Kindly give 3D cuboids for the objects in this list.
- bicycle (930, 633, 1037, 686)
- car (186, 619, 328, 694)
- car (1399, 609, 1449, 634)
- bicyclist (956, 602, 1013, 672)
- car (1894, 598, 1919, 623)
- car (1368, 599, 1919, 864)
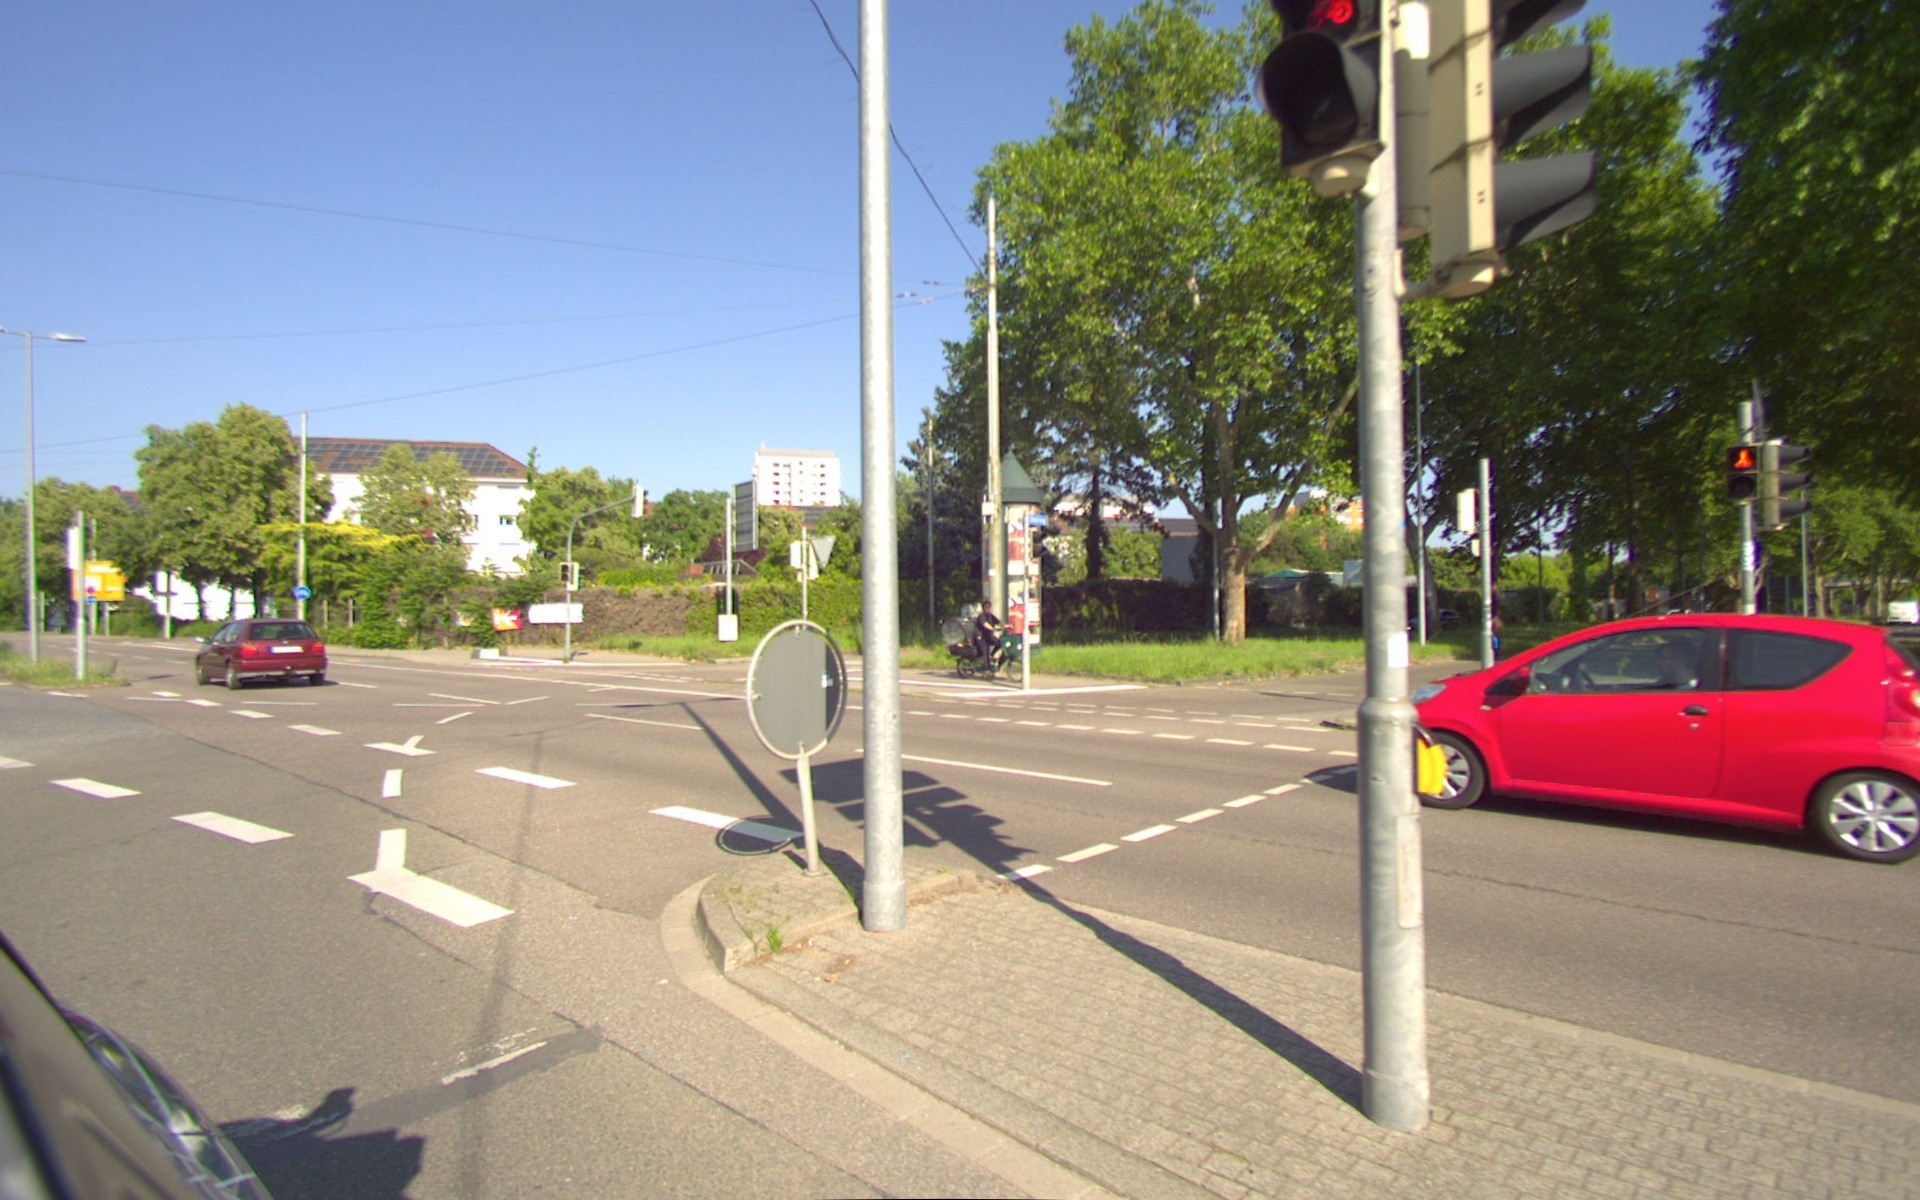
[{"bbox_3d":[0.465,1.261,21.861,0.654,1.057,2.582,0,-1,-44],"label":"bicycle"},{"bbox_3d":[-14.897,1.122,21.361,4.134,1.406,1.635,-1,-1,43],"label":"car"},{"bbox_3d":[28.515,1.312,62.150,3.372,1.317,1.510,-3,1,-42],"label":"car"},{"bbox_3d":[0.529,0.776,21.805,0.654,1.463,1.051,0,-1,-45],"label":"bicyclist"},{"bbox_3d":[78.466,0.867,83.357,4.334,1.978,1.826,0,-1,-42],"label":"car"},{"bbox_3d":[4.761,0.733,6.899,3.333,1.427,1.556,-1,-1,43],"label":"car"}]
